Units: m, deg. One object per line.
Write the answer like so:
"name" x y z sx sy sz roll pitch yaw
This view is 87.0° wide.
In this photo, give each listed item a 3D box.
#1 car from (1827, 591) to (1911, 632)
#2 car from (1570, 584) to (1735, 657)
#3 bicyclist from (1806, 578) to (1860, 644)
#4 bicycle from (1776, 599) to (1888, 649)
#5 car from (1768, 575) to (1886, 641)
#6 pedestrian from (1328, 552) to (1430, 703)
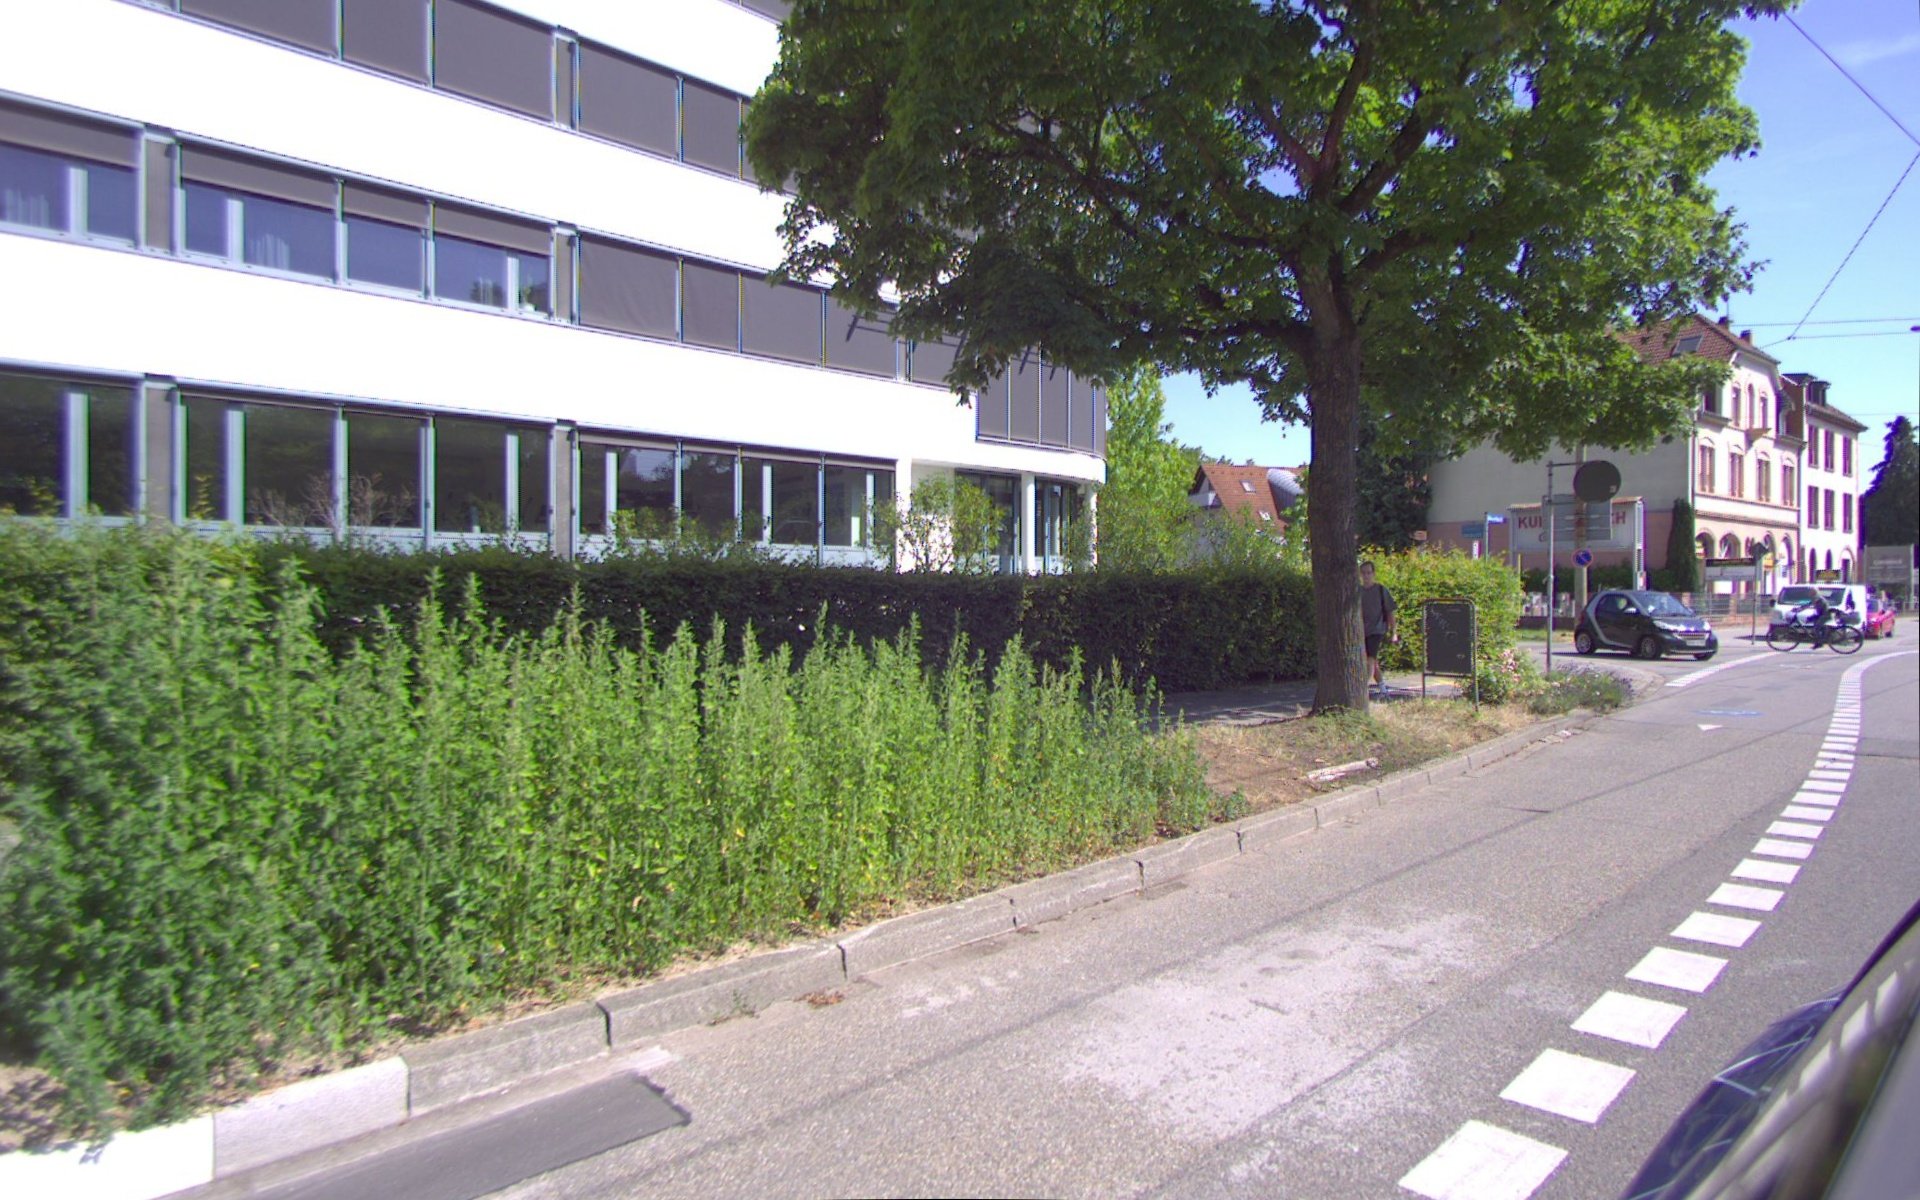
"car" 33.601 0.408 37.370 3.929 1.424 1.724 -1 0 -39
"car" 15.731 0.417 23.155 1.449 1.558 2.981 0 1 -9
"bicyclist" 22.083 0.269 25.623 0.959 1.615 0.894 0 0 37
"bicycle" 22.035 0.579 25.621 2.113 1.212 0.603 0 0 40
"car" 28.855 0.211 33.629 4.819 2.039 2.089 0 1 -38
"pedestrian" 5.396 0.329 13.017 0.889 1.841 1.056 -1 -1 44
